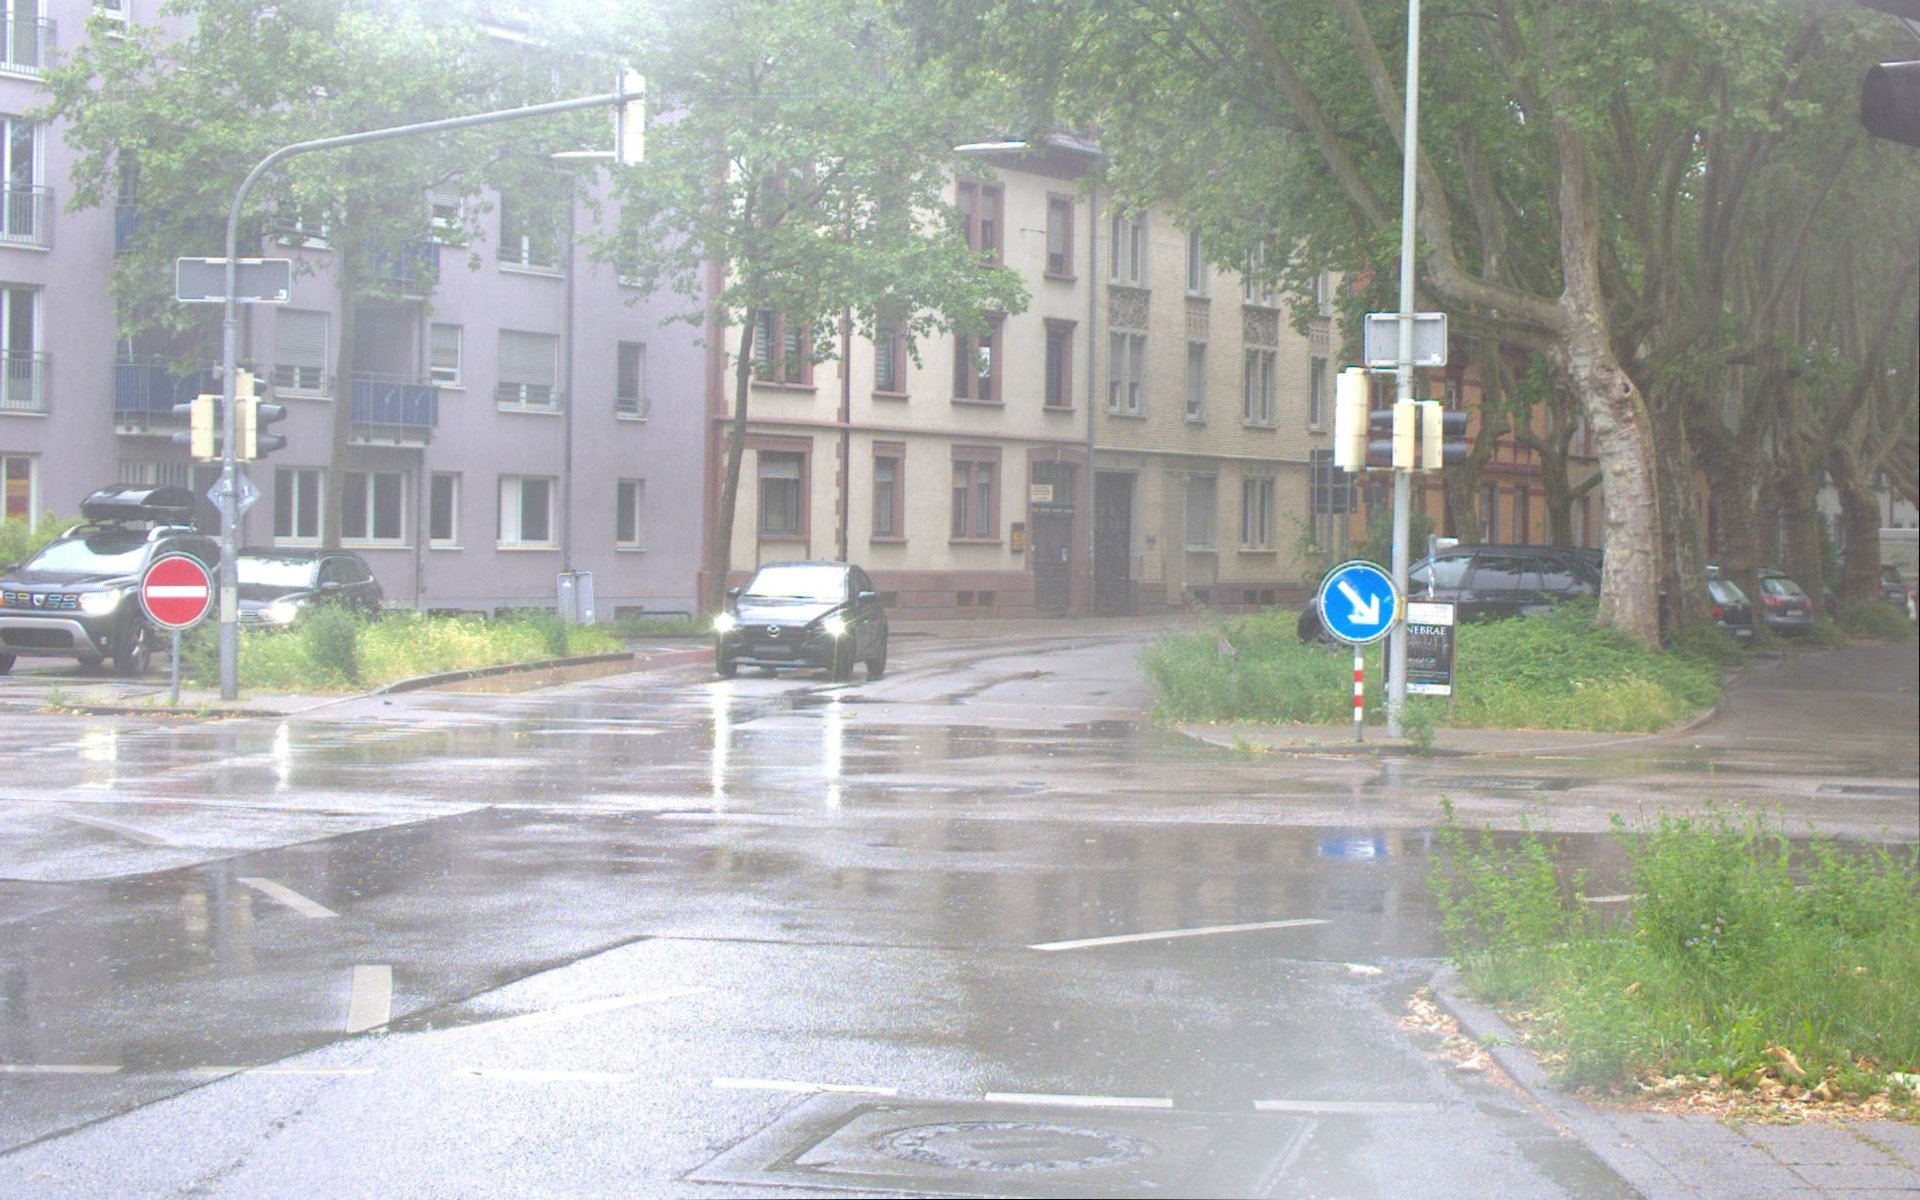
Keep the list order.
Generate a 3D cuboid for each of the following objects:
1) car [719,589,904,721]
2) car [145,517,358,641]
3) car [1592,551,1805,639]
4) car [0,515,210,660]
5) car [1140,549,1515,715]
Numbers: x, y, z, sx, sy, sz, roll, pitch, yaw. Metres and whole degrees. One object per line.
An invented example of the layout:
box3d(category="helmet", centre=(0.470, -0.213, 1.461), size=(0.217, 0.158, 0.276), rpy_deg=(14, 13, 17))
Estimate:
box3d(category="car", centre=(-1.857, 0.671, 44.010), size=(1.603, 1.547, 3.558), rpy_deg=(0, 1, 10))
box3d(category="car", centre=(-9.186, -0.301, 44.818), size=(1.725, 1.547, 3.559), rpy_deg=(-1, 1, 5))
box3d(category="car", centre=(14.028, -0.108, 65.313), size=(3.611, 1.612, 1.679), rpy_deg=(0, 1, 28))
box3d(category="car", centre=(-9.868, -0.165, 38.785), size=(1.725, 1.547, 3.559), rpy_deg=(-1, 1, 5))
box3d(category="car", centre=(3.544, 0.293, 32.973), size=(3.480, 1.518, 1.519), rpy_deg=(0, 1, 9))
